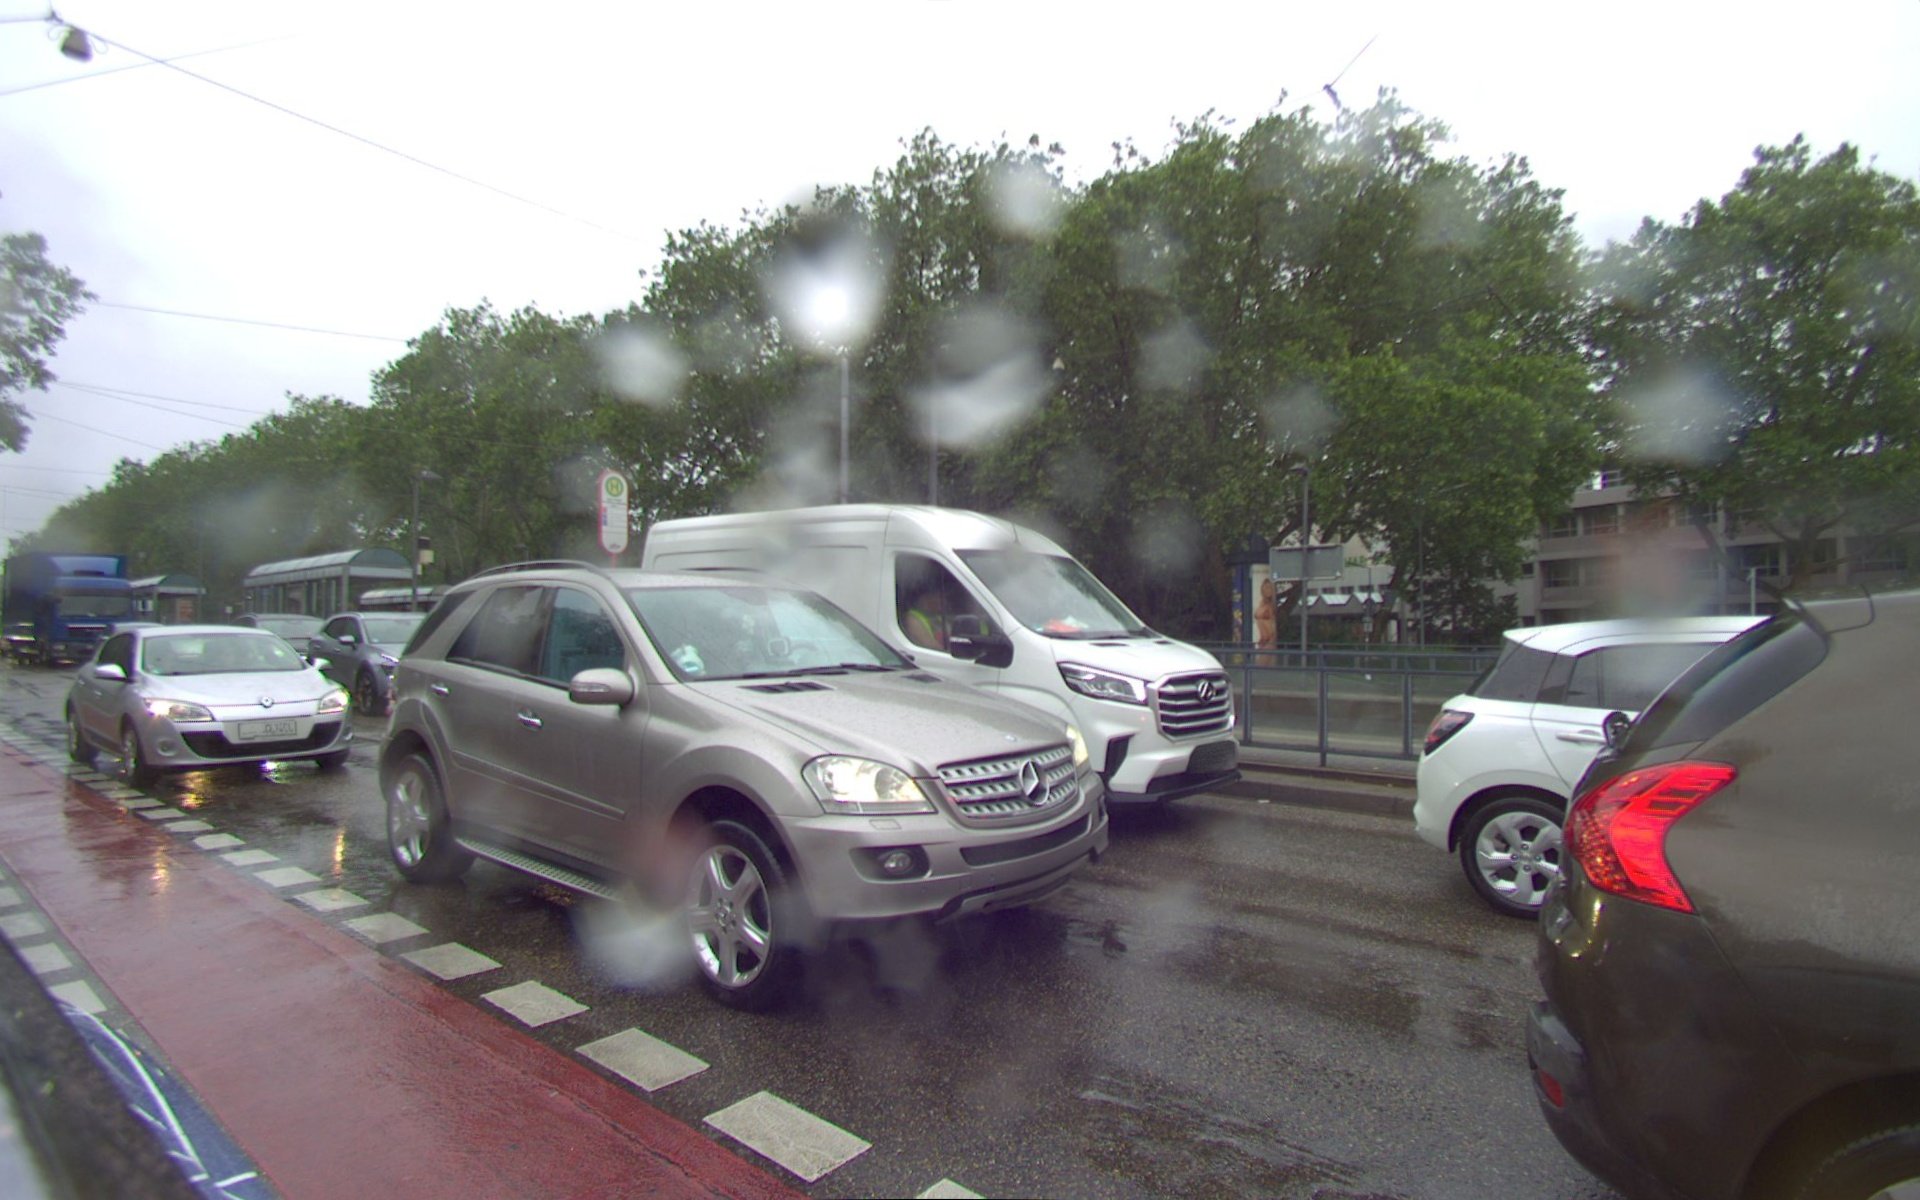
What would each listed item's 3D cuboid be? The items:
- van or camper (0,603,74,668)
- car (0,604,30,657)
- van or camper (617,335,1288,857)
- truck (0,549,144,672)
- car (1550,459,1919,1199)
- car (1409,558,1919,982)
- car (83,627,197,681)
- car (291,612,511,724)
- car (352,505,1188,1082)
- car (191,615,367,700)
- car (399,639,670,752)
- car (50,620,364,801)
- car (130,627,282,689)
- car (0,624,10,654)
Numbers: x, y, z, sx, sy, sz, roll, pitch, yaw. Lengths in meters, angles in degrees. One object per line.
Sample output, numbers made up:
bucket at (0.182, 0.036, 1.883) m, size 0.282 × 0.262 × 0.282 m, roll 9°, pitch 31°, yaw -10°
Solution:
van or camper at (-40.040, 1.470, 43.544) m, size 6.427 × 2.590 × 1.973 m, roll -1°, pitch 0°, yaw 41°
car at (-46.780, 1.484, 49.131) m, size 5.727 × 2.445 × 1.972 m, roll -1°, pitch 0°, yaw 43°
van or camper at (-0.404, 0.035, 8.829) m, size 5.846 × 3.166 × 2.136 m, roll -1°, pitch -2°, yaw 40°
truck at (-32.204, 0.453, 36.328) m, size 9.803 × 3.919 × 2.513 m, roll -1°, pitch -3°, yaw 40°
car at (3.289, 0.597, 1.233) m, size 4.170 × 1.681 × 1.815 m, roll -1°, pitch -1°, yaw 41°
car at (4.274, 0.672, 4.533) m, size 3.834 × 1.641 × 1.628 m, roll -1°, pitch -2°, yaw 41°
car at (-24.360, 1.545, 30.022) m, size 4.074 × 1.498 × 1.871 m, roll -1°, pitch -2°, yaw 40°
car at (-9.485, 1.059, 17.024) m, size 4.454 × 1.636 × 1.894 m, roll -1°, pitch -2°, yaw 43°
car at (-1.289, 0.632, 5.358) m, size 4.459 × 1.783 × 2.004 m, roll -1°, pitch -1°, yaw 40°
car at (-14.645, 1.168, 21.675) m, size 4.316 × 1.633 × 1.974 m, roll -1°, pitch -2°, yaw 40°
car at (-5.446, 1.099, 12.708) m, size 4.084 × 1.126 × 1.448 m, roll -1°, pitch -1°, yaw 40°
car at (-7.844, 0.963, 10.414) m, size 3.998 × 1.489 × 1.750 m, roll -1°, pitch -1°, yaw 40°
car at (-18.826, 1.386, 25.200) m, size 4.602 × 1.405 × 1.973 m, roll -1°, pitch -3°, yaw 40°
car at (-52.350, 2.096, 54.064) m, size 3.998 × 1.589 × 1.973 m, roll -1°, pitch -1°, yaw 41°
